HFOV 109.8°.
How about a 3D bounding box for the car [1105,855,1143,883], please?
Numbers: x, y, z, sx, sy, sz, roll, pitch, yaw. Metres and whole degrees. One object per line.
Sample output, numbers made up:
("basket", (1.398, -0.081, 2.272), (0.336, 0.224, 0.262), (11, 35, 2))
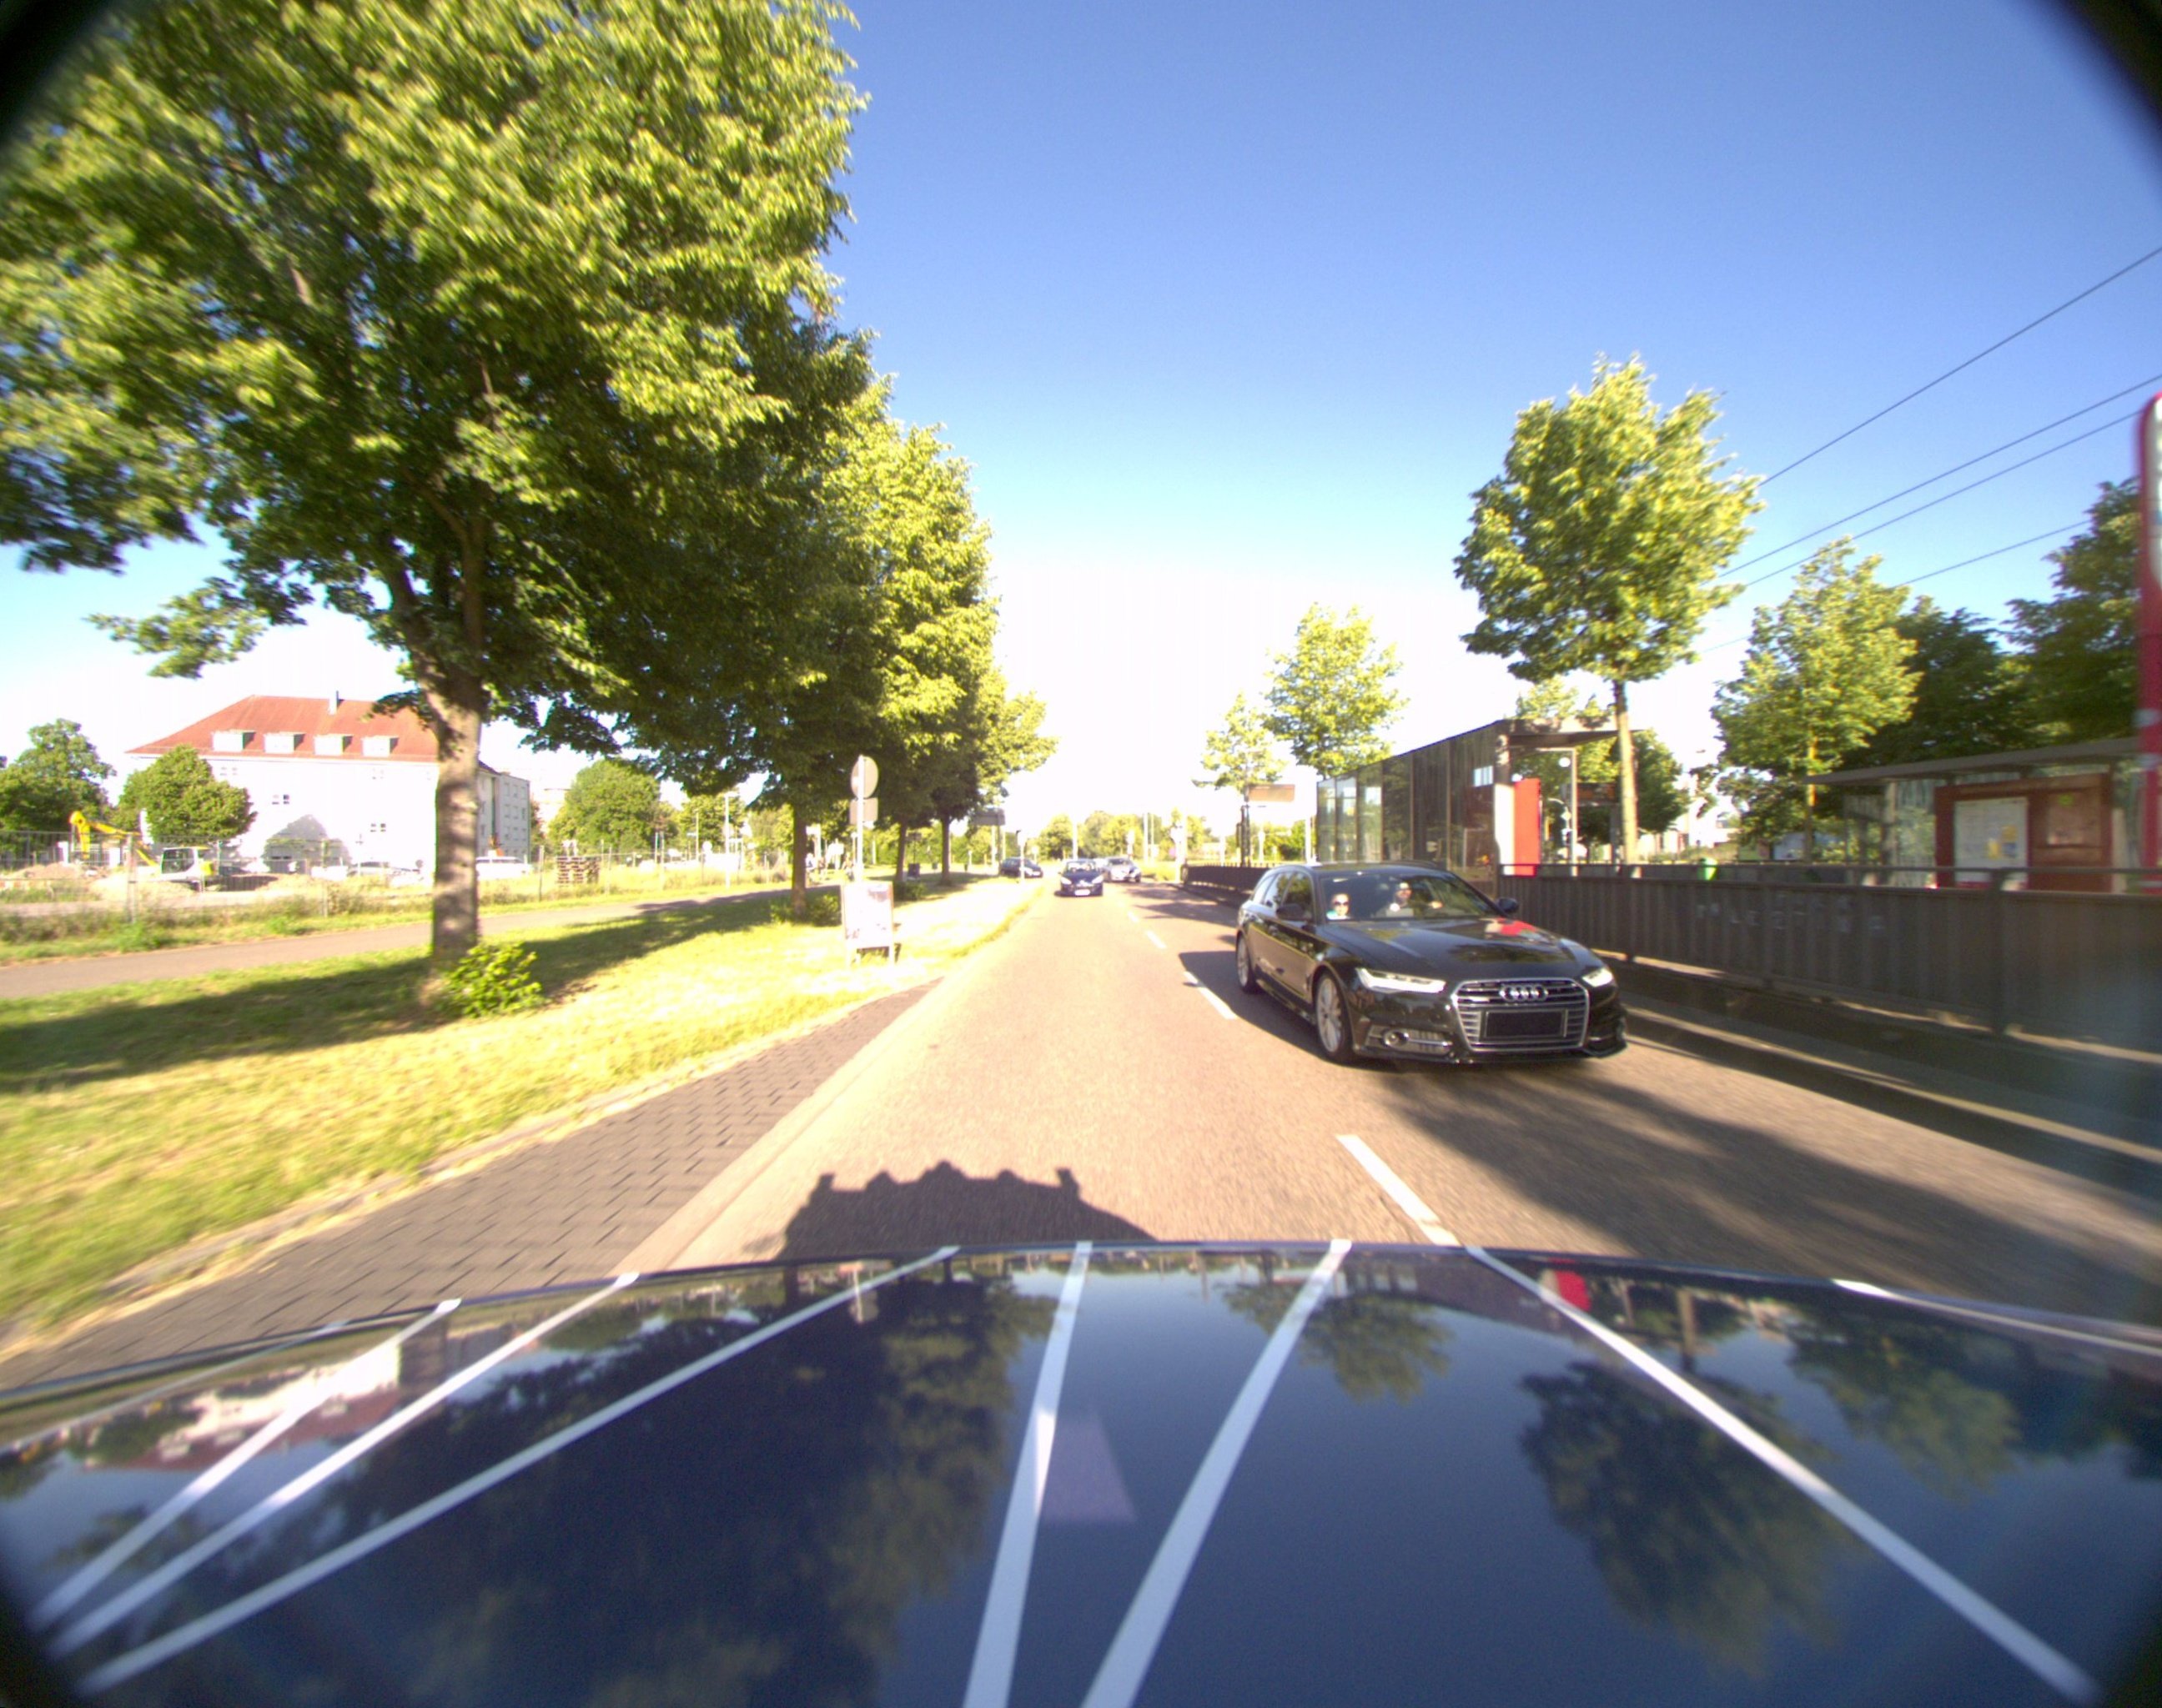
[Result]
("car", (2.488, 0.817, 44.879), (1.849, 1.560, 4.527), (0, 0, -2))

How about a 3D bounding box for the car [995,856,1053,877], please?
("car", (-4.027, 0.855, 53.711), (3.936, 1.419, 1.854), (-1, -1, 41))

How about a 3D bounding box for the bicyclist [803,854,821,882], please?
("bicyclist", (-14.671, 0.755, 41.465), (0.654, 1.544, 0.794), (-1, 1, 1))

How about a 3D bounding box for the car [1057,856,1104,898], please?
("car", (0.050, 0.914, 31.775), (1.763, 1.506, 3.947), (-1, 2, 3))

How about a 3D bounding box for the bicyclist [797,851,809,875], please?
("bicyclist", (-18.932, 0.596, 51.658), (0.594, 1.578, 0.963), (-2, 2, -28))

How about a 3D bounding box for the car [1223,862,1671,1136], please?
("car", (2.592, 0.884, 6.778), (1.788, 1.518, 4.601), (-1, 0, 0))

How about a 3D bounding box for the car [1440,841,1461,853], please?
("car", (44.207, -0.855, 90.869), (1.660, 1.257, 3.628), (0, 2, 36))

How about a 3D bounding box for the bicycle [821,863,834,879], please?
("bicycle", (-17.646, 1.161, 52.790), (0.480, 1.076, 1.640), (-2, 2, -31))

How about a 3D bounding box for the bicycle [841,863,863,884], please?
("bicycle", (-12.773, 1.091, 42.438), (0.506, 1.145, 1.606), (0, 0, 9))

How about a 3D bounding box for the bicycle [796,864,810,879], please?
("bicycle", (-18.949, 1.186, 51.722), (0.594, 0.955, 1.896), (-2, 2, -28))

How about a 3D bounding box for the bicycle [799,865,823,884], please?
("bicycle", (-14.687, 1.111, 41.382), (0.657, 1.006, 1.820), (0, 0, 0))

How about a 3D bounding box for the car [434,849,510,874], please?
("car", (-50.937, 0.580, 63.656), (4.477, 2.002, 1.996), (-1, 1, -20))

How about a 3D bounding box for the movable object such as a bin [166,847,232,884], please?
("movable object such as a bin", (-49.921, 0.622, 43.060), (2.072, 2.002, 1.994), (-2, 2, -41))

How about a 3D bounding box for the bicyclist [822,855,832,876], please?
("bicyclist", (-17.643, 0.789, 52.766), (0.472, 1.478, 0.913), (-2, 2, -31))

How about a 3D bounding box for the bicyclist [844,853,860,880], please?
("bicyclist", (-12.785, 0.676, 42.384), (0.504, 1.464, 0.834), (0, 1, 9))
